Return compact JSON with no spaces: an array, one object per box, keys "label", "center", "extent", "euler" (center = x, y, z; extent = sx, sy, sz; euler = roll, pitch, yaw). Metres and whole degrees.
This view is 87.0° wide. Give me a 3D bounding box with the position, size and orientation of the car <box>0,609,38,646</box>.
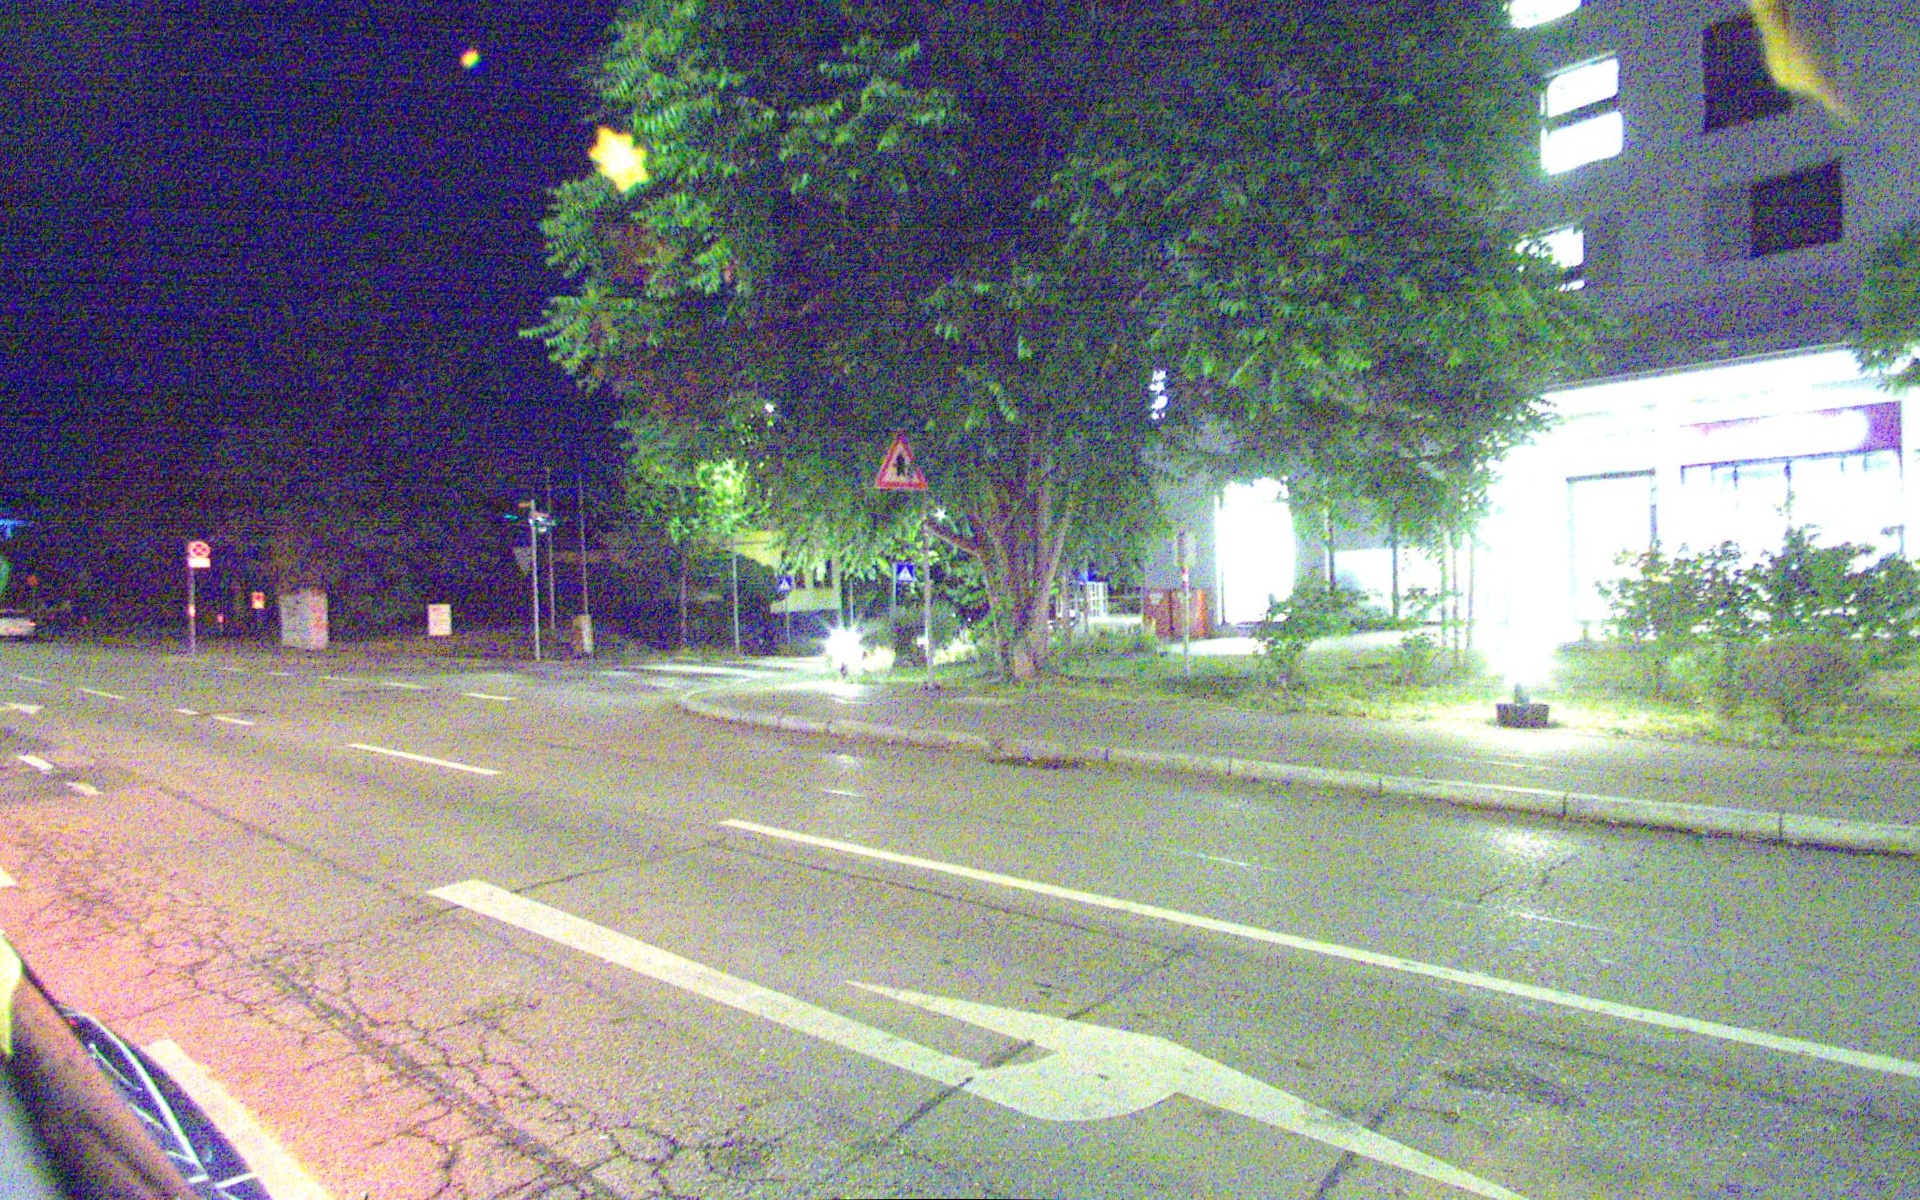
[{"label":"car","center":[-43.294,1.224,45.799],"extent":[3.998,1.464,1.887],"euler":[1,2,41]}]
